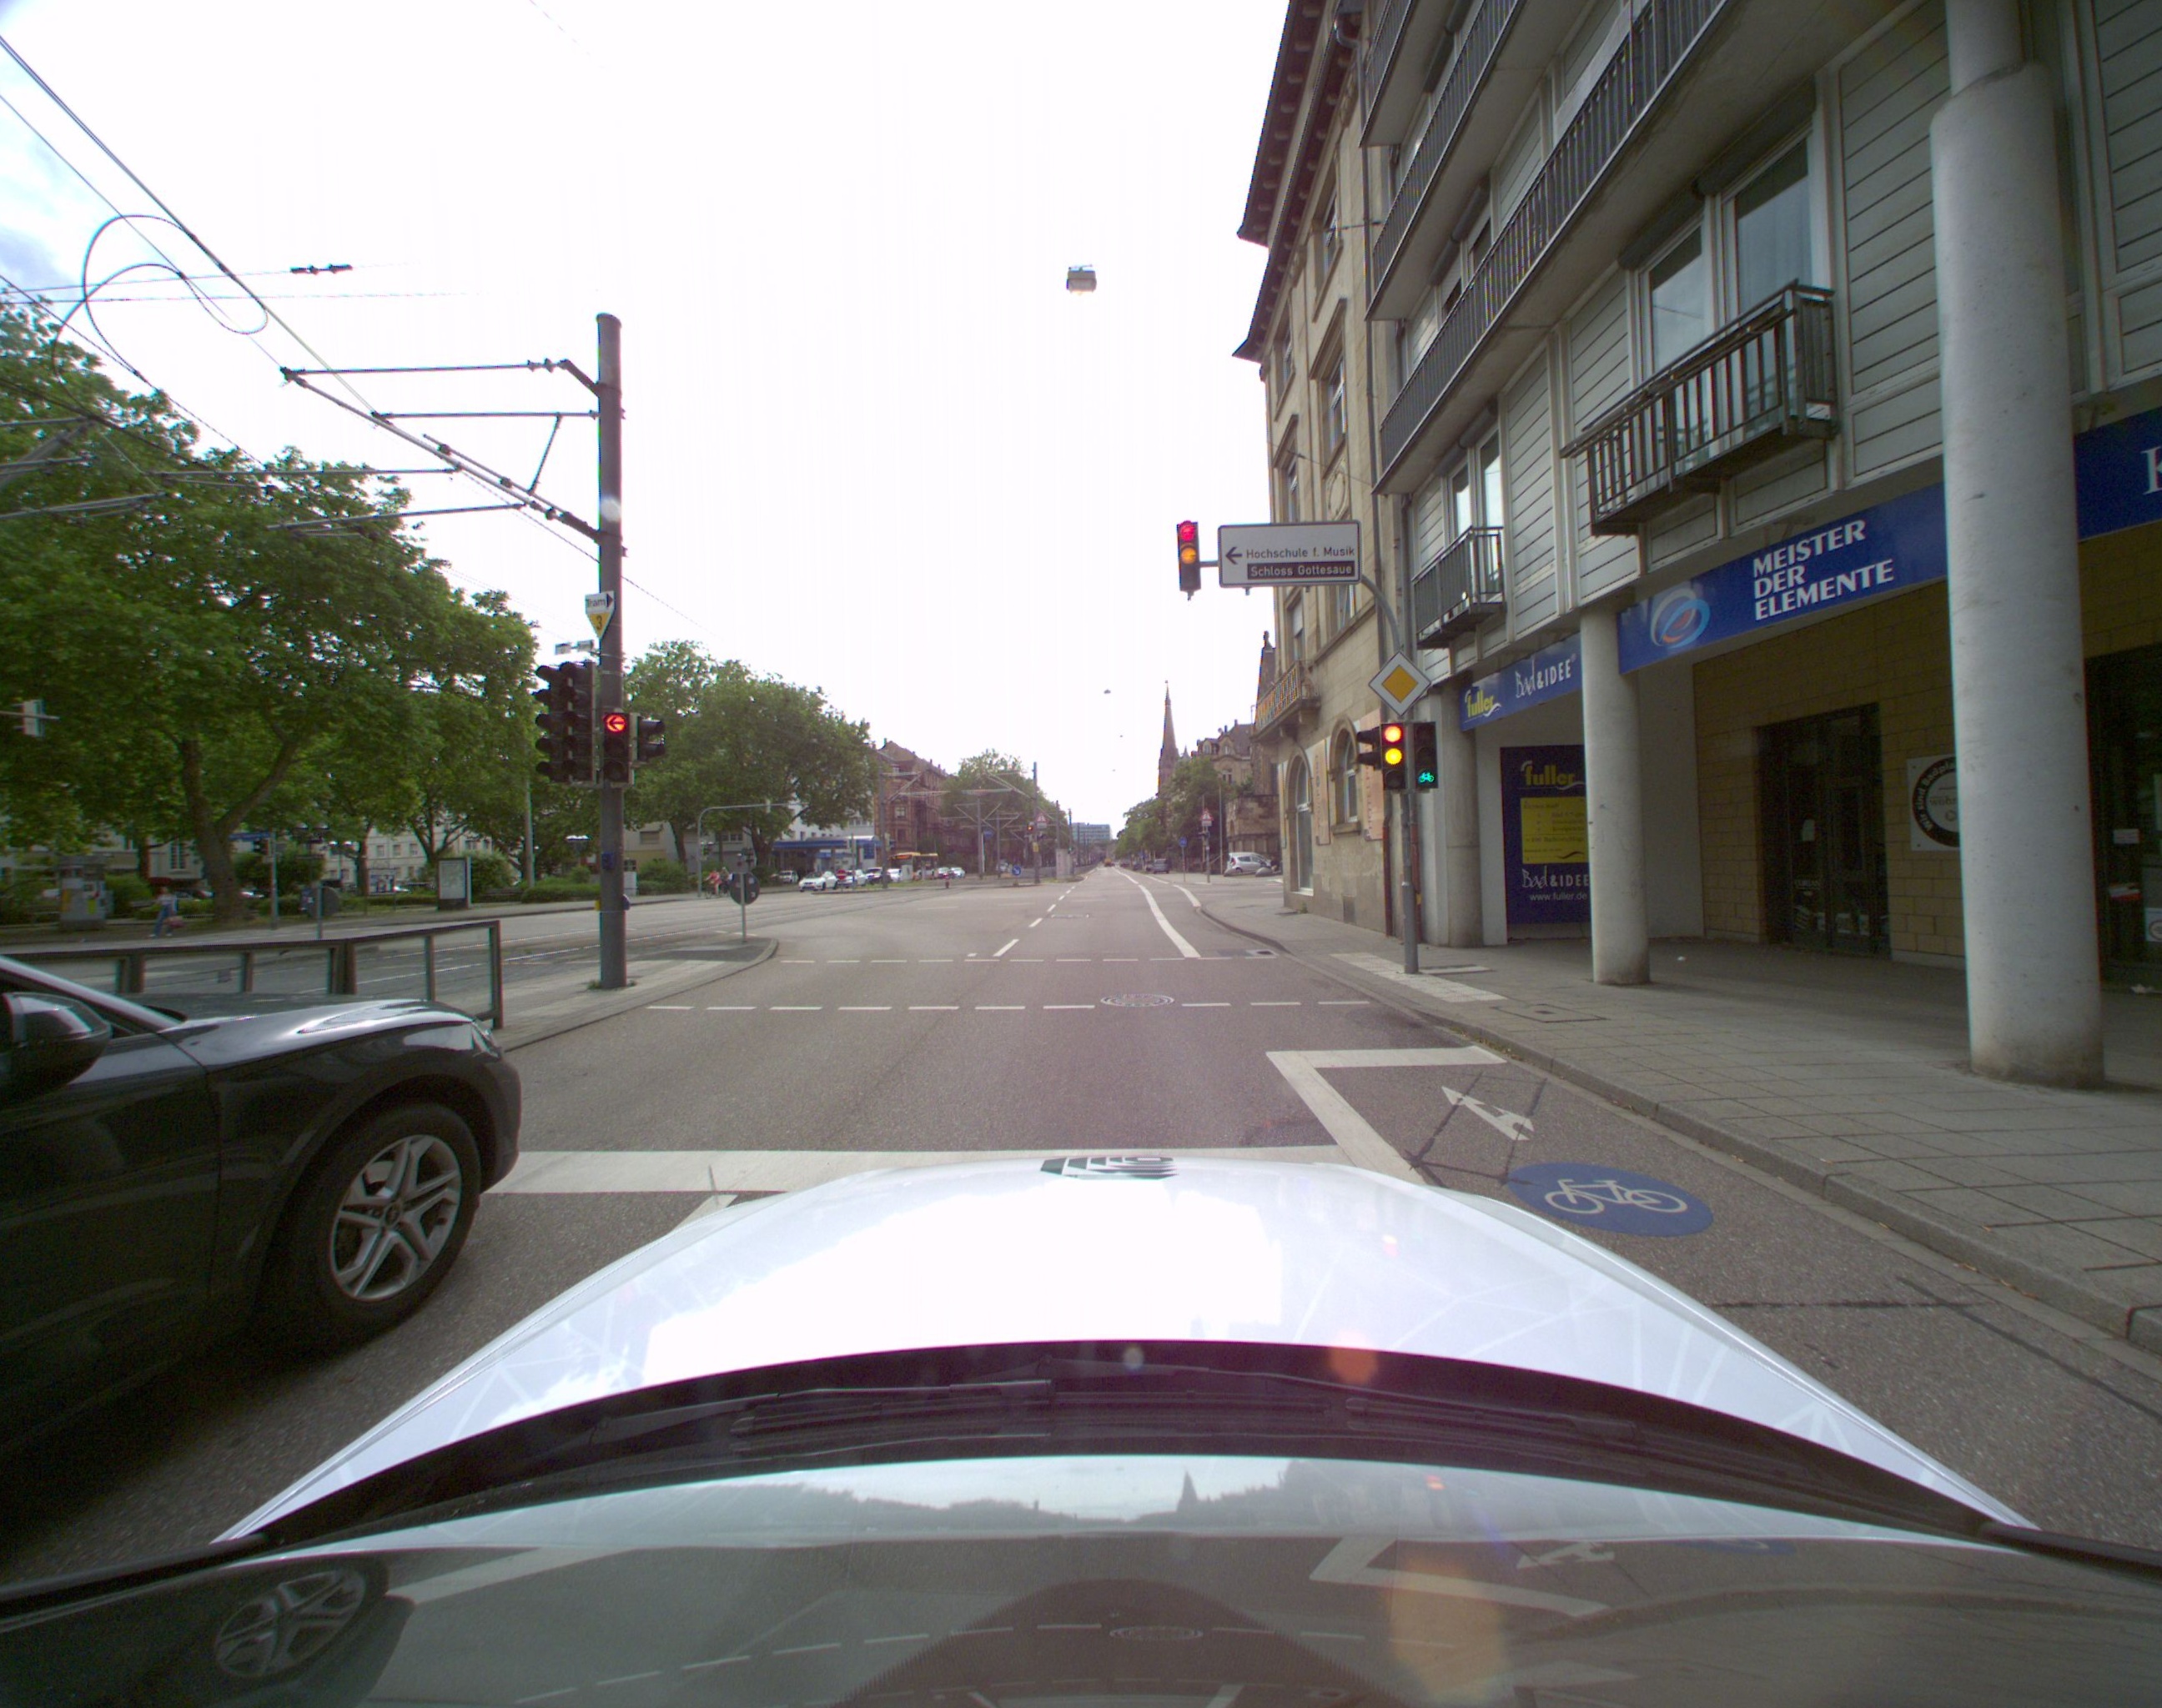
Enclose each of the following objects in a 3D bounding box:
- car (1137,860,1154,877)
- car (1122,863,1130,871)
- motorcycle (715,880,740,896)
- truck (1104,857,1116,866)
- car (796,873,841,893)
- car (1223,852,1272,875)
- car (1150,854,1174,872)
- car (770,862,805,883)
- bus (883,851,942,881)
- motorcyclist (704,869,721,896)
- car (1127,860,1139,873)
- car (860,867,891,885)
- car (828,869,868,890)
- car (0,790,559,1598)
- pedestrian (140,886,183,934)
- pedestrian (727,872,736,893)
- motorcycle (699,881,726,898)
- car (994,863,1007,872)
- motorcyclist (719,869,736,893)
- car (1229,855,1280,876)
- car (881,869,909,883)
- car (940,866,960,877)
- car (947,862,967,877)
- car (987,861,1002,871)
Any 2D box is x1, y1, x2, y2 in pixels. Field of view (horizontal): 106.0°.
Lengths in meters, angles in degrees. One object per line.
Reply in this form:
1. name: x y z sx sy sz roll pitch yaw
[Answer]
1. car: 7.889 1.702 99.621 1.985 2.014 4.004 0 -1 4
2. car: 11.910 3.378 216.795 1.986 2.014 4.001 0 -1 2
3. motorcycle: -22.477 2.151 51.823 0.604 0.928 1.953 -2 -1 2
4. truck: 9.472 2.479 265.757 3.040 2.769 9.832 -2 0 6
5. car: -19.166 2.080 59.588 1.739 1.321 4.079 0 0 4
6. car: 13.924 0.793 68.245 3.699 1.855 2.001 0 -1 2
7. car: 8.970 0.992 89.959 1.979 1.855 4.042 -1 -1 14
8. car: -29.564 1.803 82.185 1.986 2.014 4.001 -2 -1 2
9. bus: -18.303 1.303 89.725 3.217 3.035 12.323 0 0 4
10. motorcyclist: -21.956 1.696 48.532 0.617 1.520 0.874 -2 -1 2
11. car: 8.690 2.059 136.132 1.986 2.014 4.001 0 -1 2
12. car: -18.333 1.933 72.727 1.649 1.478 3.641 0 -1 3
13. car: -18.847 2.060 66.084 1.986 1.594 4.001 0 -1 2
14. car: -3.073 0.692 1.237 1.727 1.637 4.228 0 -1 2
15. pedestrian: -30.479 1.844 27.010 0.656 1.510 0.680 -1 -1 -15
16. pedestrian: -25.458 2.063 59.299 0.474 1.459 0.426 -2 -1 1
17. motorcycle: -21.938 2.120 48.483 0.604 0.928 1.953 -2 -1 2
18. car: -14.796 2.450 149.908 1.986 1.610 4.001 0 -1 2
19. motorcyclist: -22.485 1.727 51.833 0.617 1.520 0.874 -2 -1 2
20. car: 13.744 0.909 64.740 3.699 1.563 2.001 0 -1 2
21. car: -18.161 2.105 79.648 1.649 1.321 3.641 0 -1 3
22. car: -16.523 2.195 102.816 1.649 1.321 3.641 0 -1 3
23. car: -16.752 2.066 110.197 1.986 2.014 4.001 0 -1 2
24. car: -15.055 2.068 142.099 1.986 1.610 4.001 0 -1 2
